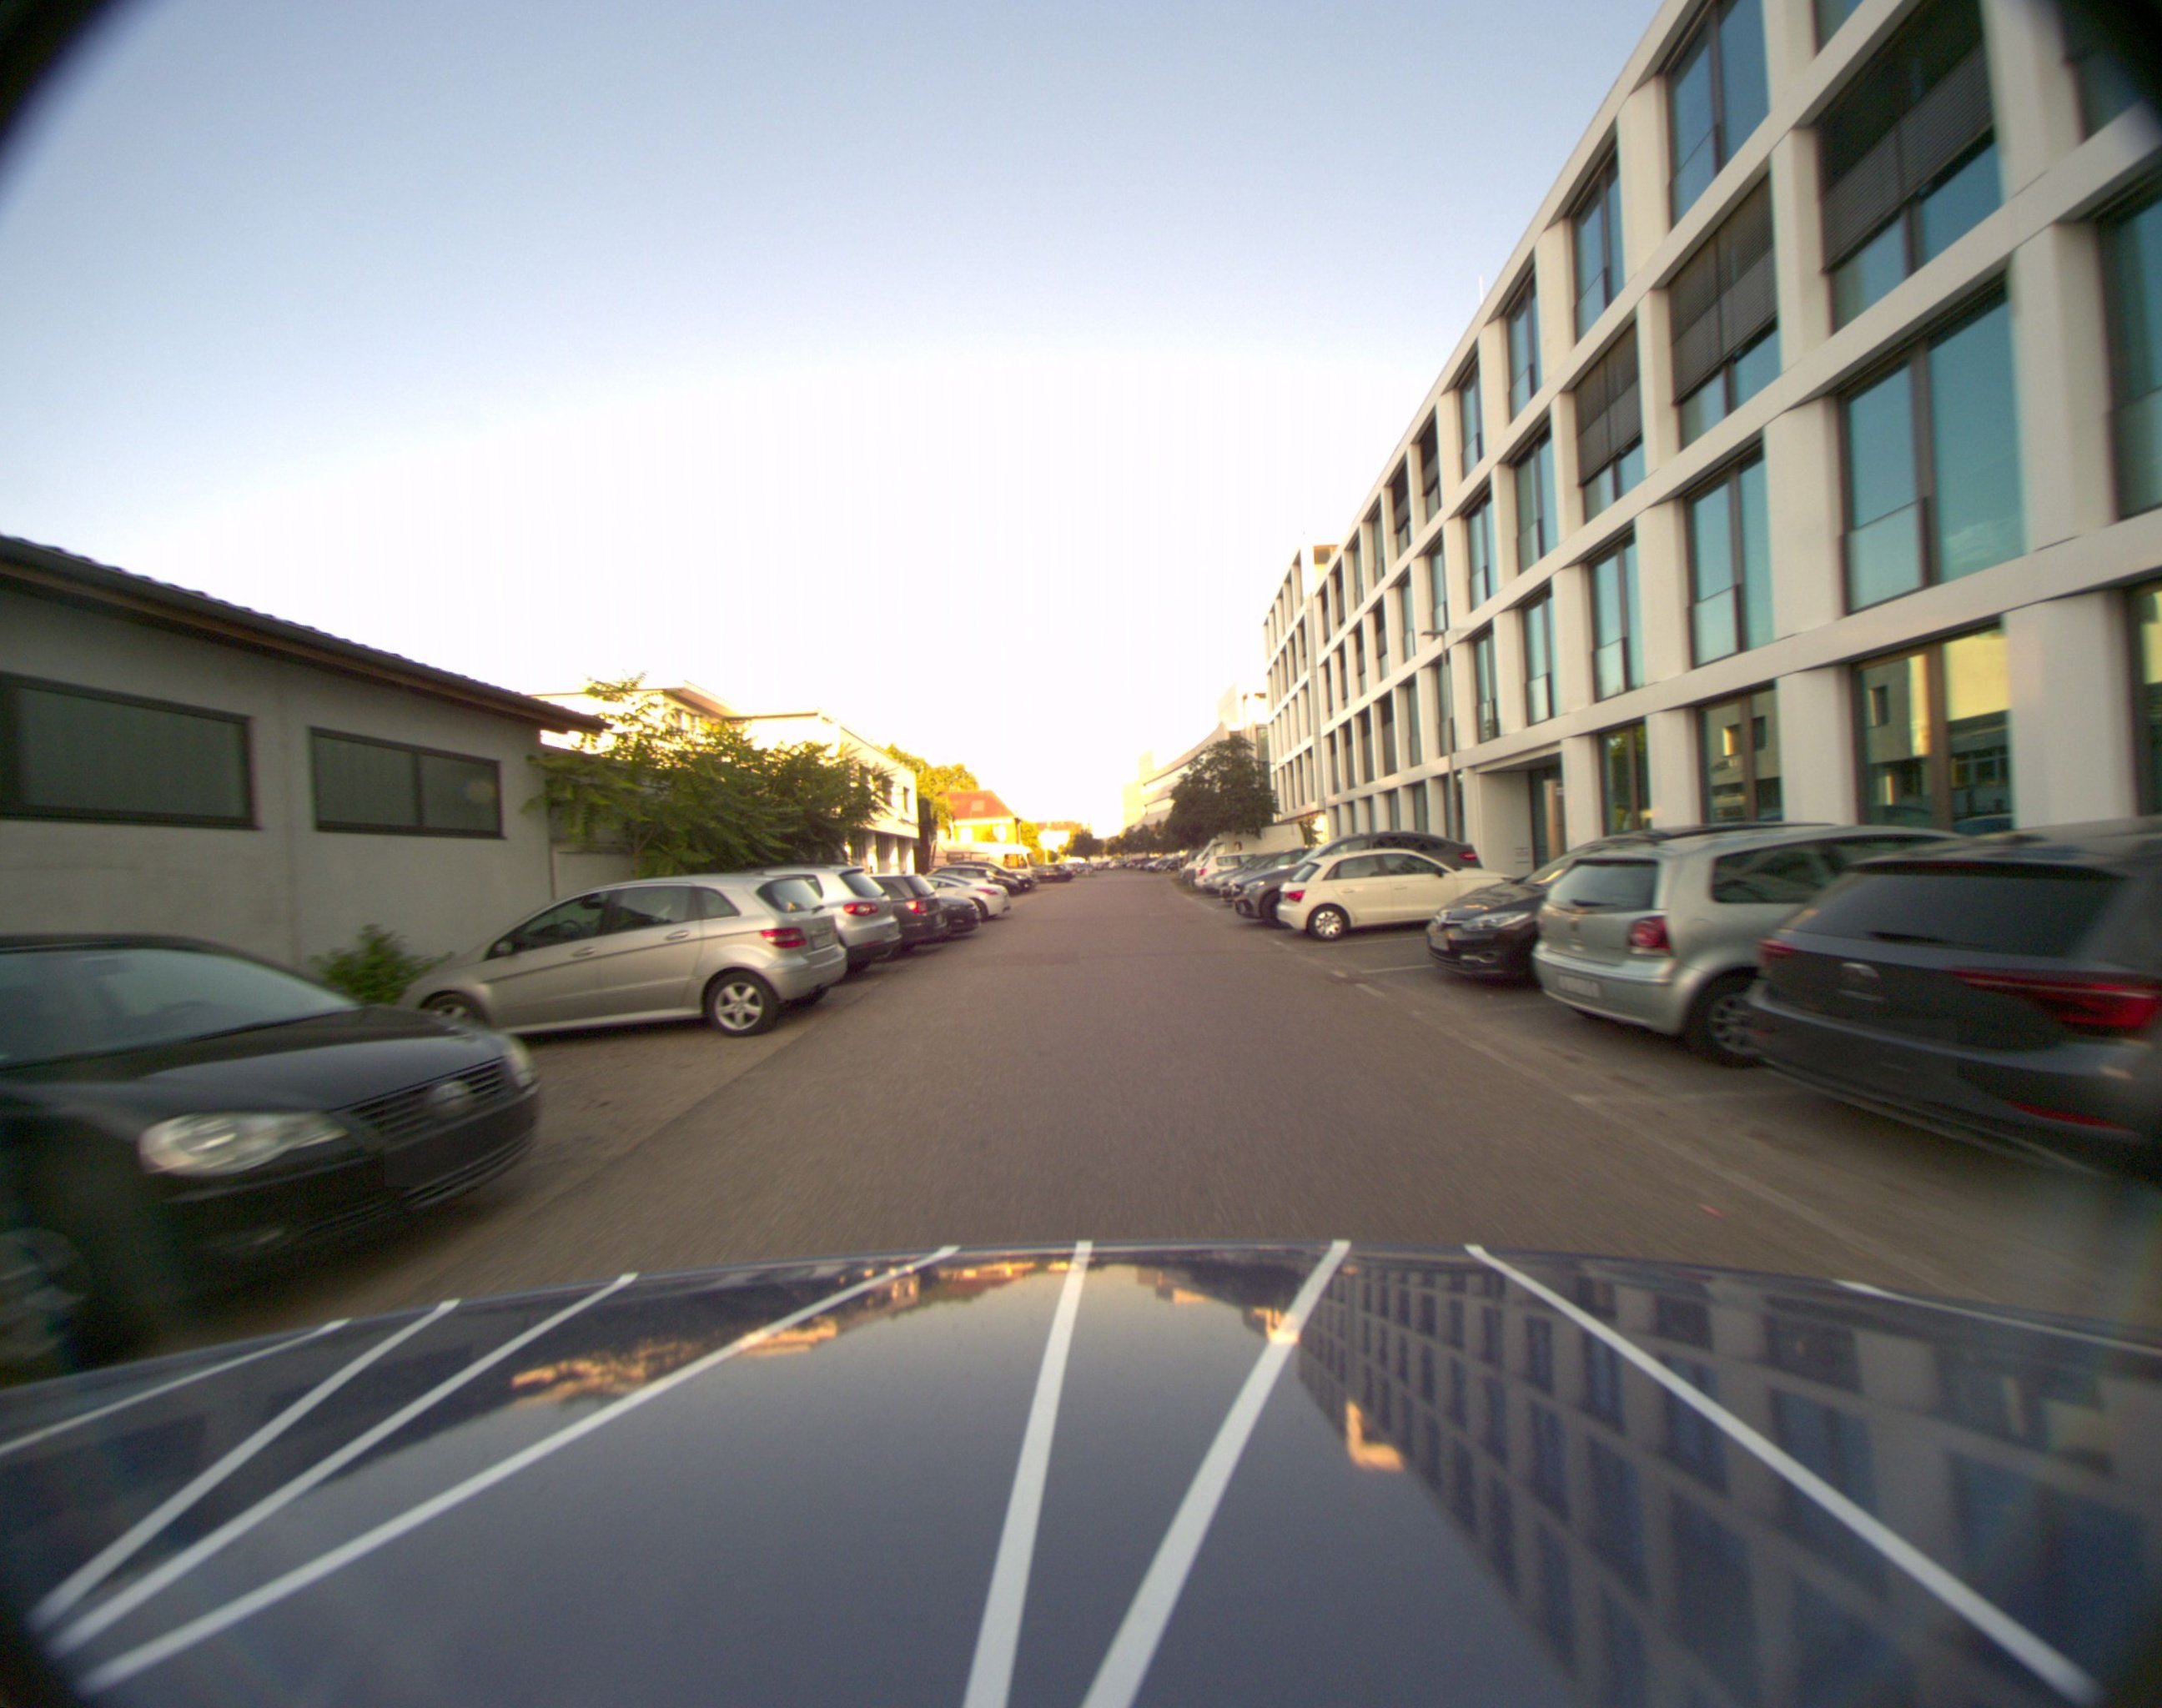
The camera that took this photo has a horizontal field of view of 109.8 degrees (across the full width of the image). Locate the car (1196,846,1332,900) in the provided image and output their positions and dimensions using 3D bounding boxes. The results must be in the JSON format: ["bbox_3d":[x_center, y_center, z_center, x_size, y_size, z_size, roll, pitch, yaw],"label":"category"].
[{"bbox_3d":[6.324,0.658,26.616,4.317,1.486,1.795,-4,-1,5],"label":"car"}]

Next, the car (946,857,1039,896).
[{"bbox_3d":[-4.399,1.105,38.084,4.249,1.731,1.968,-2,0,7],"label":"car"}]

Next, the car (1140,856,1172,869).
[{"bbox_3d":[9.668,1.099,98.199,3.812,1.352,1.799,-5,0,-3],"label":"car"}]

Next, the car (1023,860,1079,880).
[{"bbox_3d":[-2.219,1.191,57.196,4.065,1.399,1.896,-2,-1,0],"label":"car"}]

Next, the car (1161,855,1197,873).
[{"bbox_3d":[10.364,1.038,80.542,3.654,1.538,1.726,-5,0,3],"label":"car"}]

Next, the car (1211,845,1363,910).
[{"bbox_3d":[5.769,0.652,21.628,3.790,1.513,1.694,-4,-1,2],"label":"car"}]

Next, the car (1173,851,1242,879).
[{"bbox_3d":[8.218,0.735,49.522,4.118,1.509,1.845,-4,-1,2],"label":"car"}]

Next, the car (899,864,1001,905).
[{"bbox_3d":[-5.212,1.198,30.541,3.714,1.470,1.712,-2,0,1],"label":"car"}]

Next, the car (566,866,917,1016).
[{"bbox_3d":[-4.547,1.130,10.670,3.994,1.609,1.827,-4,0,-1],"label":"car"}]

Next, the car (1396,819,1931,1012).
[{"bbox_3d":[5.660,0.592,7.875,3.973,1.502,1.797,-4,-1,5],"label":"car"}]

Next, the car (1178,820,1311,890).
[{"bbox_3d":[7.187,0.062,33.892,5.392,2.617,2.079,-4,-1,5],"label":"car"}]

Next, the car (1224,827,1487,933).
[{"bbox_3d":[5.374,0.529,15.510,4.628,1.696,2.006,-4,-1,7],"label":"car"}]

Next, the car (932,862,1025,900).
[{"bbox_3d":[-4.673,1.202,34.995,4.015,1.554,1.712,-2,0,-2],"label":"car"}]

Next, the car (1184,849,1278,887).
[{"bbox_3d":[7.204,0.692,36.725,4.118,1.490,1.775,-4,-1,0],"label":"car"}]

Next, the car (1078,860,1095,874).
[{"bbox_3d":[0.575,1.396,82.140,1.680,1.454,4.369,-3,-1,2],"label":"car"}]

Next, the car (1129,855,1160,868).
[{"bbox_3d":[8.886,1.067,106.507,4.028,1.574,1.798,-5,0,-8],"label":"car"}]

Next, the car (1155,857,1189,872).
[{"bbox_3d":[10.266,1.151,85.856,3.654,1.416,1.726,-5,0,2],"label":"car"}]

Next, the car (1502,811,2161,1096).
[{"bbox_3d":[5.328,0.608,5.370,3.662,1.502,1.688,-4,-1,4],"label":"car"}]

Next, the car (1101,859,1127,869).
[{"bbox_3d":[5.502,1.705,126.709,4.028,1.340,1.798,-5,0,-8],"label":"car"}]

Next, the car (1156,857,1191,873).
[{"bbox_3d":[10.105,1.169,83.213,3.654,1.416,1.726,-5,0,3],"label":"car"}]

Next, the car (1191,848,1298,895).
[{"bbox_3d":[6.234,0.662,29.275,3.716,1.486,1.708,-4,-1,4],"label":"car"}]

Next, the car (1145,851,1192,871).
[{"bbox_3d":[10.180,0.863,88.538,5.082,1.870,1.889,-5,0,-3],"label":"car"}]

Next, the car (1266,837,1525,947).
[{"bbox_3d":[5.186,0.631,12.970,3.674,1.502,1.697,-4,-1,7],"label":"car"}]

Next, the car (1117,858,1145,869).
[{"bbox_3d":[7.659,1.462,116.495,4.028,1.340,1.798,-5,0,-8],"label":"car"}]

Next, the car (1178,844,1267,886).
[{"bbox_3d":[7.221,0.560,39.153,4.118,1.806,1.816,-4,-1,0],"label":"car"}]

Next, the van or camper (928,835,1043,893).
[{"bbox_3d":[-5.072,0.540,41.177,5.794,2.847,2.487,-2,0,1],"label":"van or camper"}]

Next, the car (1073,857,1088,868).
[{"bbox_3d":[-0.078,1.138,101.238,1.770,1.454,4.368,-3,-1,-2],"label":"car"}]

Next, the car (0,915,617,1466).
[{"bbox_3d":[-4.448,1.187,3.190,3.769,1.436,1.845,-4,0,1],"label":"car"}]

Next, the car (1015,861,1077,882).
[{"bbox_3d":[-2.484,1.235,54.786,4.326,1.325,1.896,-2,0,0],"label":"car"}]

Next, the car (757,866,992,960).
[{"bbox_3d":[-4.163,1.175,15.782,4.212,1.494,1.890,-4,1,4],"label":"car"}]

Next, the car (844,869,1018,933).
[{"bbox_3d":[-4.018,1.263,20.734,4.211,1.359,1.824,-4,0,6],"label":"car"}]

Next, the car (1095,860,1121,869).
[{"bbox_3d":[4.647,1.808,131.554,4.028,1.340,1.798,-5,0,-8],"label":"car"}]

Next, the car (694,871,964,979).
[{"bbox_3d":[-4.274,1.193,13.332,3.993,1.437,1.827,-4,1,3],"label":"car"}]

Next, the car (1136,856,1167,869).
[{"bbox_3d":[9.358,1.151,100.854,3.812,1.352,1.799,-5,0,-3],"label":"car"}]

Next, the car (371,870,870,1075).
[{"bbox_3d":[-4.565,1.128,8.042,3.993,1.600,1.939,-4,0,1],"label":"car"}]

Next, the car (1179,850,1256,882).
[{"bbox_3d":[7.892,0.672,44.074,4.117,1.509,1.781,-4,-1,3],"label":"car"}]

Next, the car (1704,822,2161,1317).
[{"bbox_3d":[5.194,0.604,3.144,3.662,1.502,1.688,-4,-1,4],"label":"car"}]
